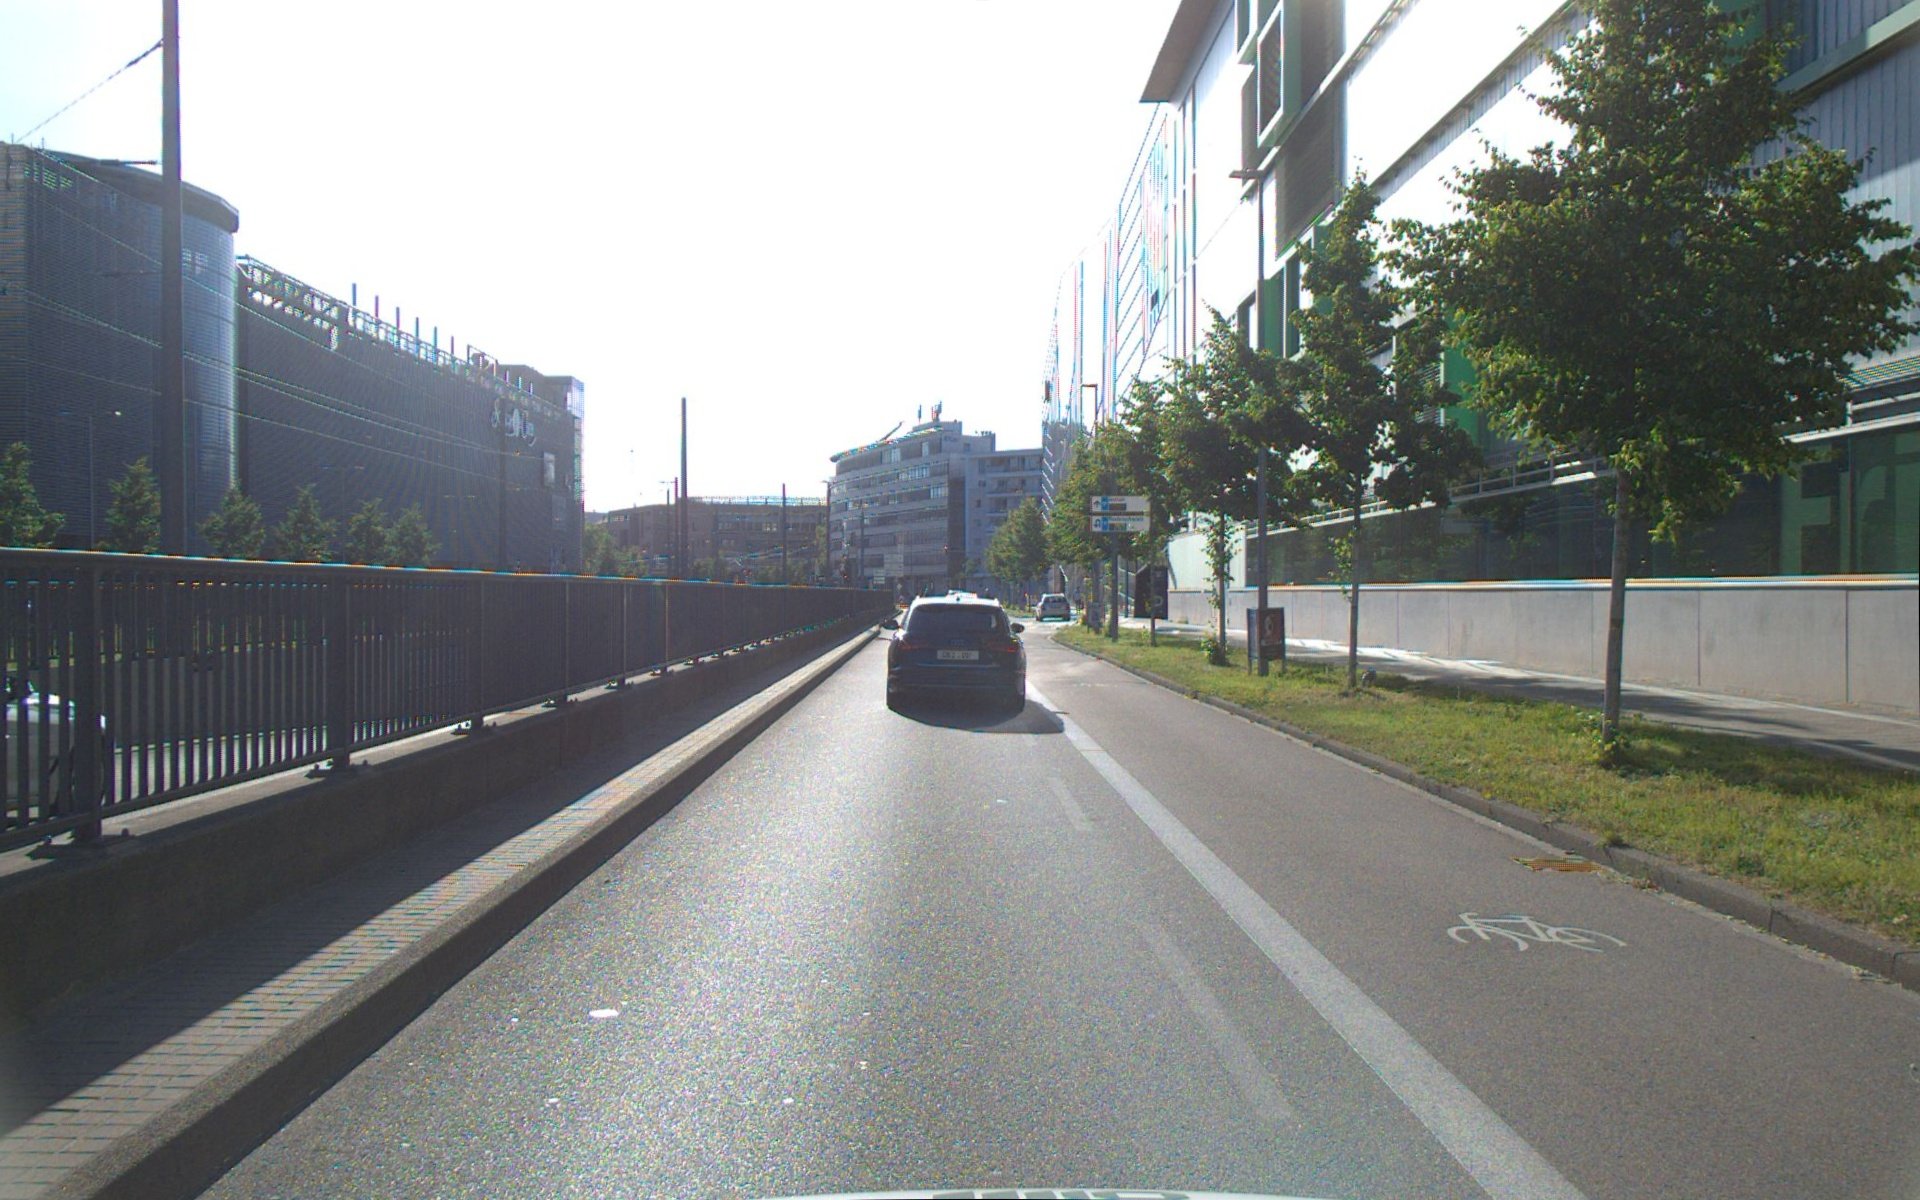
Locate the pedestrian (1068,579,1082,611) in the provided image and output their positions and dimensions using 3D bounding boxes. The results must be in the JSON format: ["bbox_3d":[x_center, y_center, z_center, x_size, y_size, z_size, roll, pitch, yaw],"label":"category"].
[{"bbox_3d":[7.386,-0.304,105.899,0.819,2.049,0.689,-1,0,0],"label":"pedestrian"}]

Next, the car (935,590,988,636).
[{"bbox_3d":[0.021,0.456,62.136,1.815,1.573,3.999,1,1,-2],"label":"car"}]

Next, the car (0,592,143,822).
[{"bbox_3d":[-7.526,0.749,11.111,1.762,1.553,4.908,2,1,-2],"label":"car"}]

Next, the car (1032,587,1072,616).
[{"bbox_3d":[5.122,0.063,92.292,1.815,1.506,4.852,-2,1,-2],"label":"car"}]

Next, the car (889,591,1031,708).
[{"bbox_3d":[-0.071,0.608,23.018,1.776,1.452,4.688,0,0,-2],"label":"car"}]
